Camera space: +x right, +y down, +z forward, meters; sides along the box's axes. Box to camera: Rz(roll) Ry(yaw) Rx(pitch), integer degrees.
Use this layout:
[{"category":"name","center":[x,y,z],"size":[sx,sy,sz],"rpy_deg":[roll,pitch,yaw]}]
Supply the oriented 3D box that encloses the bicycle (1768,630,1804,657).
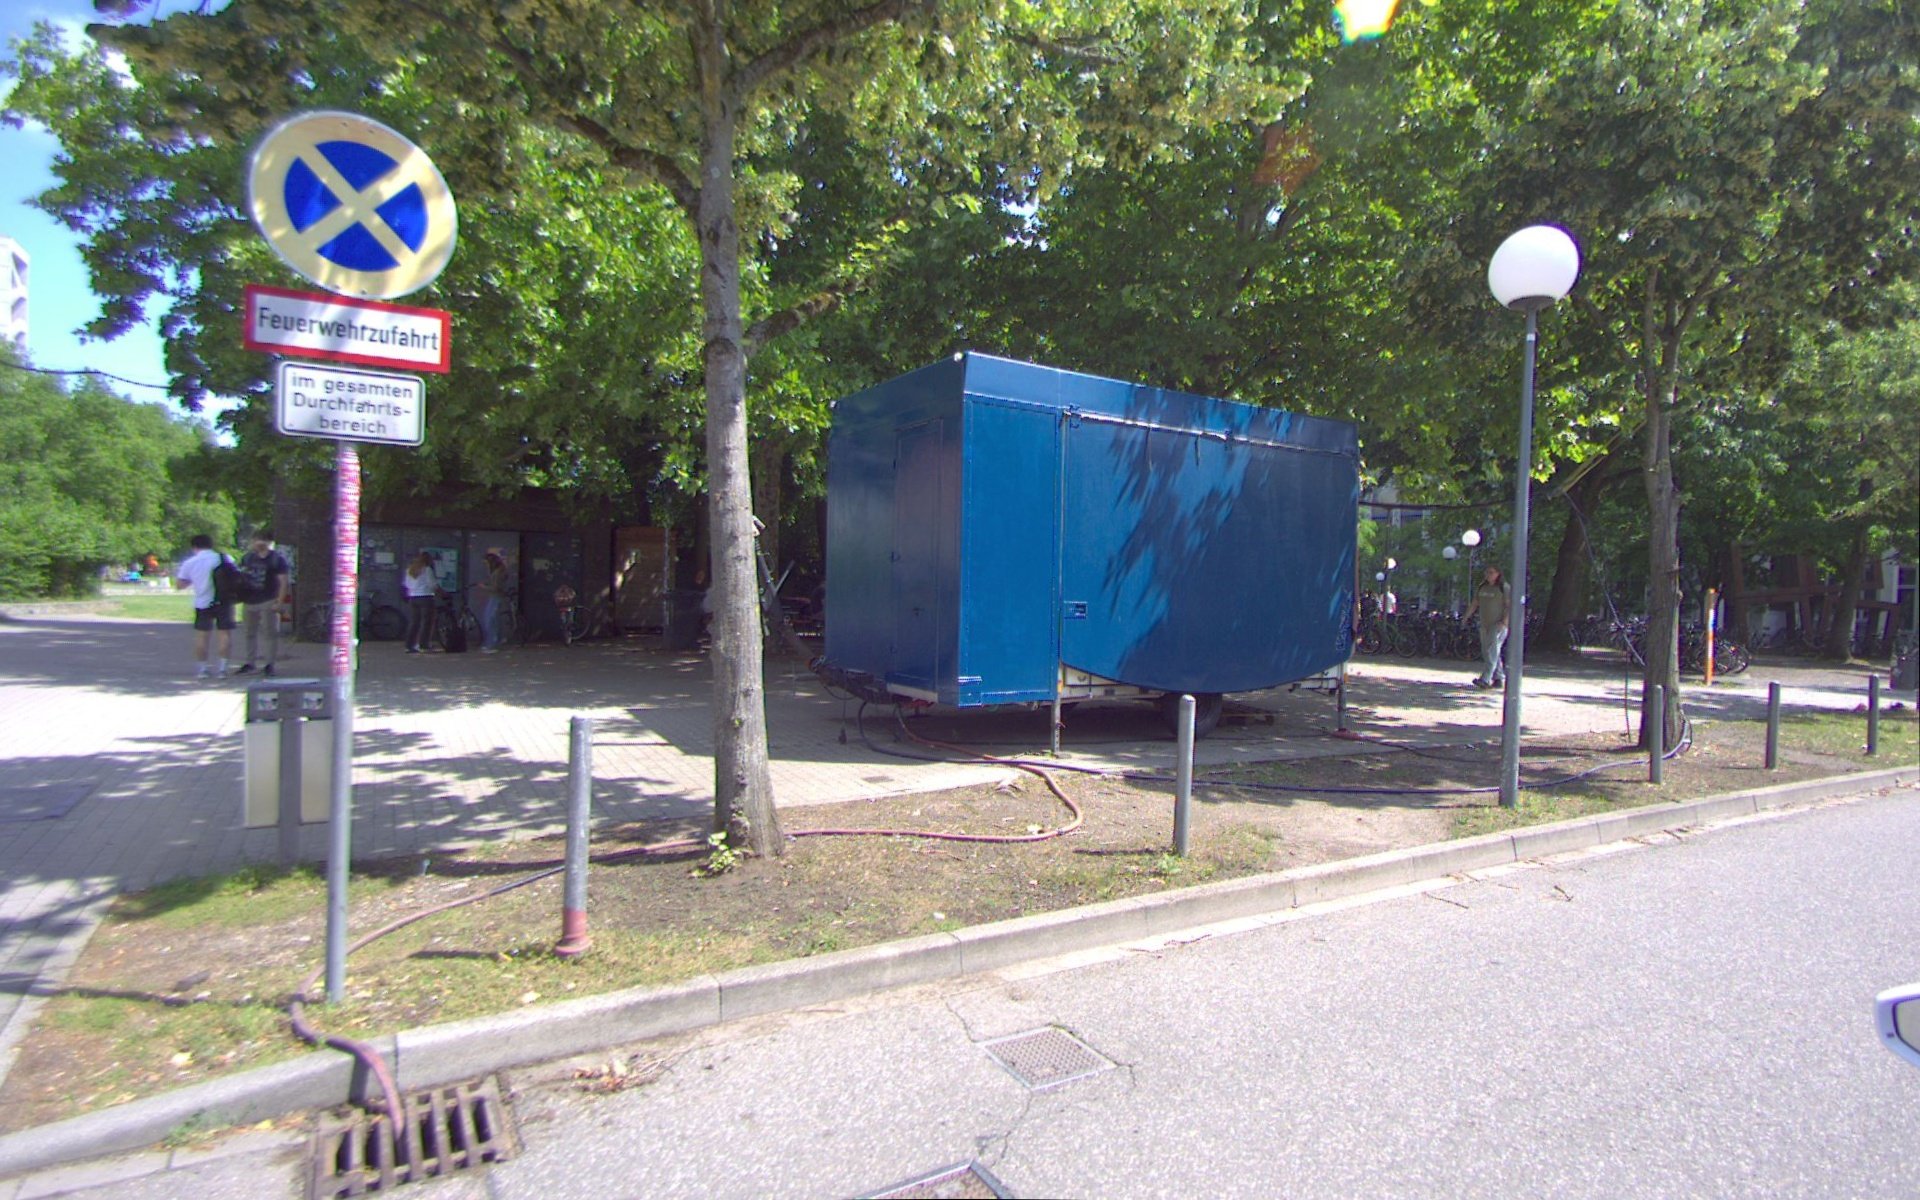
[{"category":"bicycle","center":[35.499,1.868,43.166],"size":[1.951,1.101,0.549],"rpy_deg":[2,2,-32]}]

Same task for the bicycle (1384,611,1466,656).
[{"category":"bicycle","center":[12.859,0.911,27.839],"size":[1.939,1.104,0.534],"rpy_deg":[4,2,42]}]

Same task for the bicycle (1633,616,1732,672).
[{"category":"bicycle","center":[16.496,0.987,22.968],"size":[1.753,1.147,0.456],"rpy_deg":[4,2,42]}]

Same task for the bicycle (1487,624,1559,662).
[{"category":"bicycle","center":[19.274,1.464,34.424],"size":[2.021,1.148,0.639],"rpy_deg":[4,2,24]}]

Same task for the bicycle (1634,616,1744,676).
[{"category":"bicycle","center":[17.518,1.080,24.169],"size":[2.030,1.251,0.804],"rpy_deg":[4,2,42]}]

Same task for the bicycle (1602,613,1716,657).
[{"category":"bicycle","center":[22.875,1.140,32.937],"size":[2.850,1.237,0.883],"rpy_deg":[3,1,17]}]

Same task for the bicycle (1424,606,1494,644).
[{"category":"bicycle","center":[16.005,0.784,32.247],"size":[1.932,1.104,0.546],"rpy_deg":[4,2,30]}]

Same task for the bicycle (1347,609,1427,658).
[{"category":"bicycle","center":[10.242,0.789,24.181],"size":[0.531,1.028,1.795],"rpy_deg":[2,2,-28]}]

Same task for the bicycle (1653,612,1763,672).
[{"category":"bicycle","center":[18.399,1.001,24.723],"size":[2.030,1.251,0.804],"rpy_deg":[6,3,42]}]

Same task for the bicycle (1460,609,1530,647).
[{"category":"bicycle","center":[17.412,0.900,32.722],"size":[1.932,1.104,0.546],"rpy_deg":[4,2,30]}]

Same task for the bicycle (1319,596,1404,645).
[{"category":"bicycle","center":[10.314,0.506,25.850],"size":[0.533,1.141,1.943],"rpy_deg":[1,2,-41]}]

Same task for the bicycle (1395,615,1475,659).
[{"category":"bicycle","center":[13.545,1.040,28.676],"size":[1.939,1.104,0.544],"rpy_deg":[4,2,43]}]

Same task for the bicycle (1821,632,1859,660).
[{"category":"bicycle","center":[36.347,1.903,41.479],"size":[1.951,1.101,0.549],"rpy_deg":[2,2,-32]}]

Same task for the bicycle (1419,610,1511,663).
[{"category":"bicycle","center":[11.936,0.838,23.786],"size":[1.832,1.104,0.545],"rpy_deg":[4,2,38]}]

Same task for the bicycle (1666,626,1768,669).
[{"category":"bicycle","center":[20.828,1.290,27.692],"size":[2.115,1.022,0.677],"rpy_deg":[3,2,29]}]

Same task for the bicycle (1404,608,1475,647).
[{"category":"bicycle","center":[15.082,0.847,31.601],"size":[1.932,1.104,0.546],"rpy_deg":[4,2,30]}]

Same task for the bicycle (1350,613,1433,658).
[{"category":"bicycle","center":[11.367,0.923,26.529],"size":[0.533,1.041,1.943],"rpy_deg":[1,2,-41]}]

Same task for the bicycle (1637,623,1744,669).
[{"category":"bicycle","center":[18.852,1.169,25.983],"size":[2.115,1.022,0.677],"rpy_deg":[3,2,30]}]

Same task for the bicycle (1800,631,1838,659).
[{"category":"bicycle","center":[35.986,1.886,42.075],"size":[1.951,1.101,0.549],"rpy_deg":[2,2,-32]}]

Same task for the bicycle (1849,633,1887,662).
[{"category":"bicycle","center":[36.956,1.936,40.869],"size":[1.951,1.101,0.549],"rpy_deg":[2,2,-32]}]

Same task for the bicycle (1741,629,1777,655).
[{"category":"bicycle","center":[34.952,1.842,43.921],"size":[1.951,1.101,0.549],"rpy_deg":[2,2,-32]}]

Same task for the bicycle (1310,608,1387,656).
[{"category":"bicycle","center":[9.434,0.763,24.464],"size":[0.531,1.028,1.795],"rpy_deg":[2,2,-28]}]

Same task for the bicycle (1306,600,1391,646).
[{"category":"bicycle","center":[9.816,0.569,25.414],"size":[0.533,1.017,1.943],"rpy_deg":[1,2,-41]}]

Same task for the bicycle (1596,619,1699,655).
[{"category":"bicycle","center":[23.162,1.234,33.893],"size":[2.679,1.016,0.883],"rpy_deg":[3,1,17]}]

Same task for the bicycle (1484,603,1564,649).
[{"category":"bicycle","center":[17.218,0.778,30.724],"size":[2.021,1.251,0.639],"rpy_deg":[3,2,24]}]

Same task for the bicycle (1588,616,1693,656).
[{"category":"bicycle","center":[23.655,1.228,34.979],"size":[2.826,1.193,0.883],"rpy_deg":[3,1,17]}]

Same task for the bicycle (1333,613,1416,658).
[{"category":"bicycle","center":[10.790,0.909,26.208],"size":[0.533,1.041,1.943],"rpy_deg":[1,2,-41]}]

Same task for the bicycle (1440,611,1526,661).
[{"category":"bicycle","center":[13.278,0.899,25.537],"size":[1.832,1.104,0.545],"rpy_deg":[4,2,38]}]

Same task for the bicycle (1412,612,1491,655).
[{"category":"bicycle","center":[14.249,0.961,29.161],"size":[1.939,1.104,0.544],"rpy_deg":[4,2,43]}]

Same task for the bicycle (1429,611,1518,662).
[{"category":"bicycle","center":[12.592,0.884,24.682],"size":[1.832,1.104,0.545],"rpy_deg":[4,2,38]}]

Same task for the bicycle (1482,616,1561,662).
[{"category":"bicycle","center":[17.496,1.196,31.363],"size":[2.021,1.251,0.639],"rpy_deg":[4,3,24]}]

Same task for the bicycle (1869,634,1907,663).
[{"category":"bicycle","center":[37.177,1.942,40.242],"size":[1.951,1.101,0.549],"rpy_deg":[2,2,-32]}]

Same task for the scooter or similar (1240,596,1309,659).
[{"category":"scooter or similar","center":[6.664,0.583,21.282],"size":[1.228,1.263,0.695],"rpy_deg":[2,2,-31]}]

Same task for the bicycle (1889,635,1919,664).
[{"category":"bicycle","center":[37.504,1.957,39.733],"size":[1.951,1.101,0.549],"rpy_deg":[2,2,-32]}]

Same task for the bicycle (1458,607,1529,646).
[{"category":"bicycle","center":[17.981,0.893,33.924],"size":[2.021,1.173,0.639],"rpy_deg":[3,2,24]}]
